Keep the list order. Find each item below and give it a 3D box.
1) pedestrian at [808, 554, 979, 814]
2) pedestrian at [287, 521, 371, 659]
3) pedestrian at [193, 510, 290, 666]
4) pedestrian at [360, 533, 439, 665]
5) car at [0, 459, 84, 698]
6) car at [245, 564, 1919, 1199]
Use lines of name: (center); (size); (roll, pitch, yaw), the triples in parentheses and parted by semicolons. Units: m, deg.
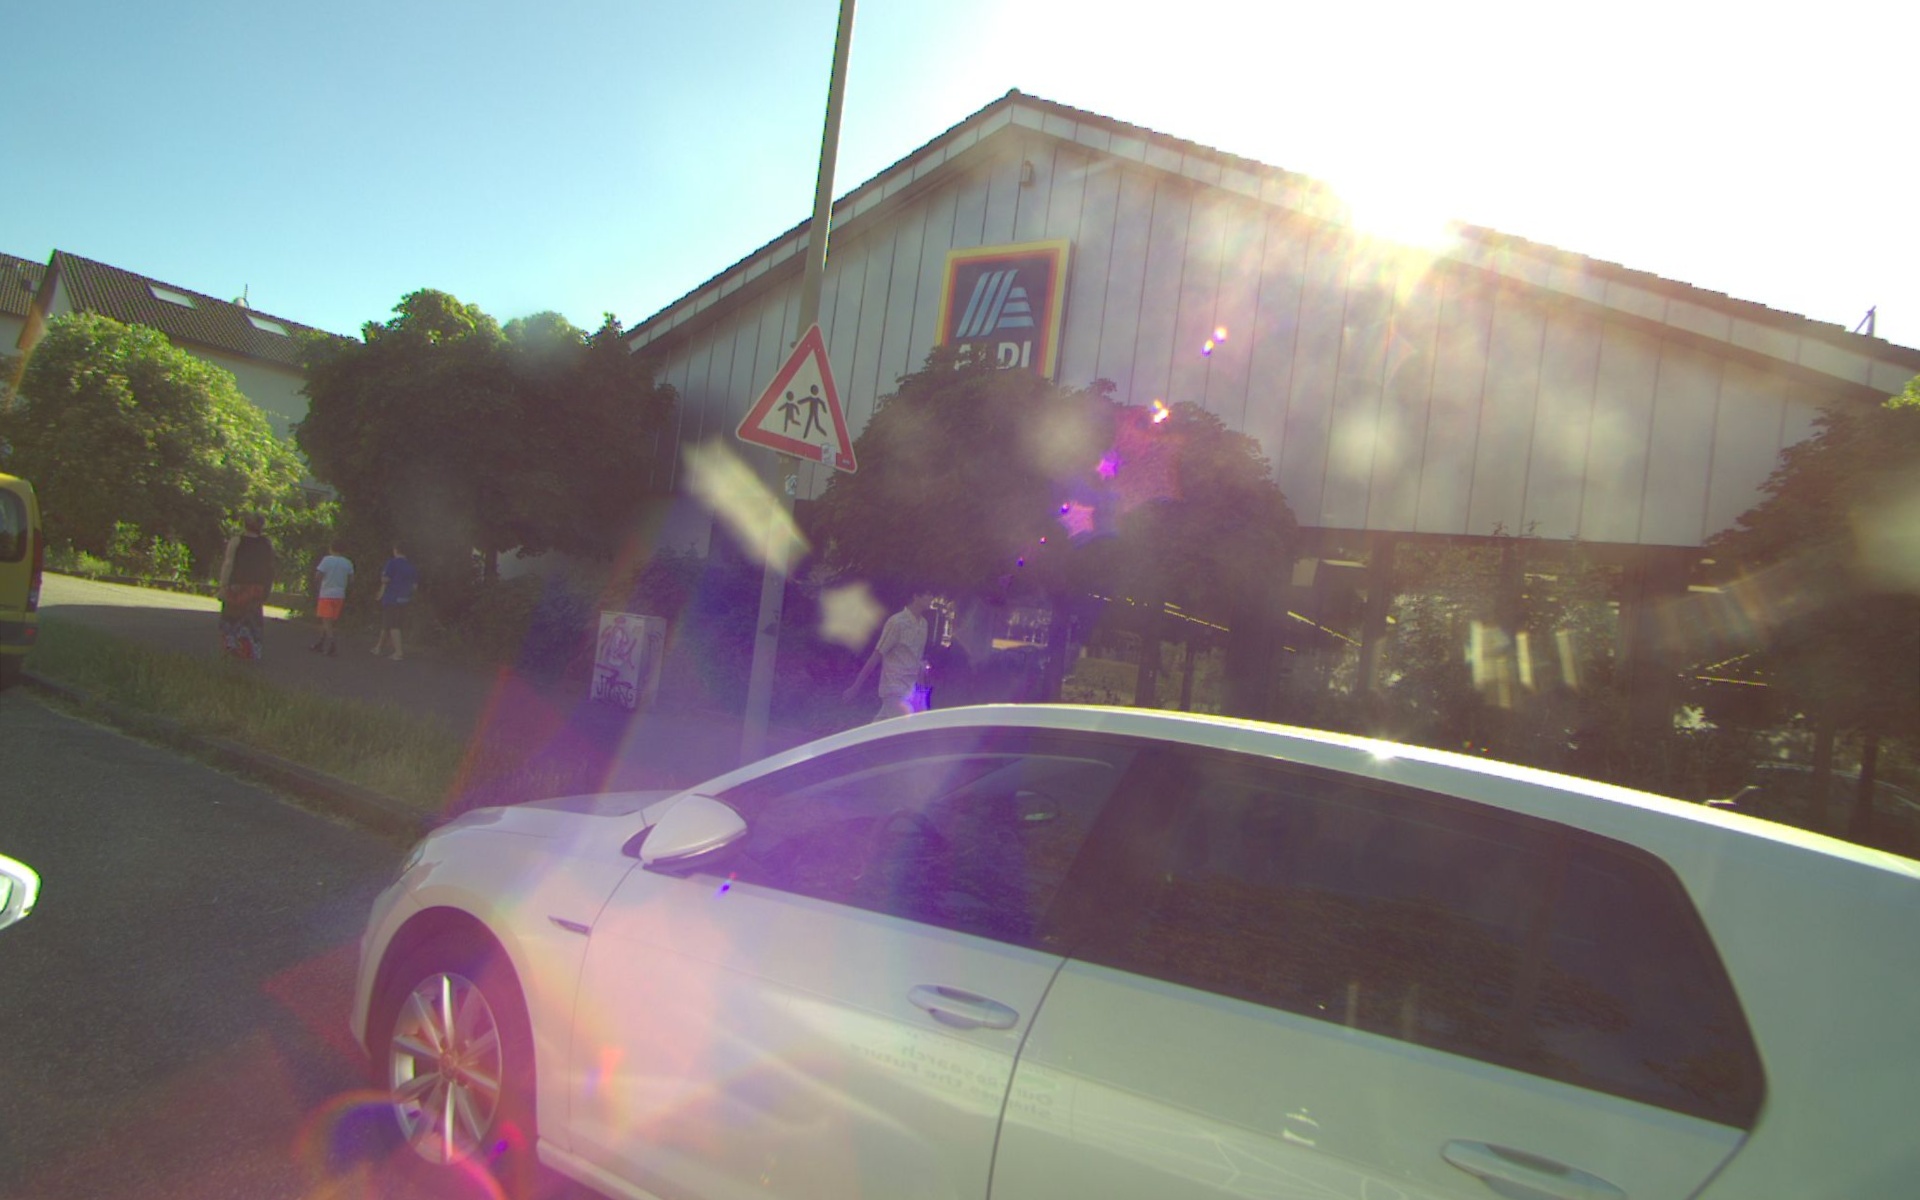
pedestrian: (-0.514, 0.658, 8.055); (0.858, 1.882, 0.796); (7, -2, 24)
pedestrian: (-8.064, -0.124, 12.857); (0.538, 1.656, 0.567); (7, -1, 36)
pedestrian: (-8.074, -0.132, 11.311); (0.538, 1.656, 0.567); (7, -1, 36)
pedestrian: (-7.452, -0.010, 13.382); (0.538, 1.656, 0.567); (7, -1, 36)
car: (-9.439, -0.395, 8.591); (3.934, 1.858, 1.728); (6, -3, 32)
car: (0.161, 0.912, 2.737); (3.932, 1.468, 1.831); (6, -3, 30)
